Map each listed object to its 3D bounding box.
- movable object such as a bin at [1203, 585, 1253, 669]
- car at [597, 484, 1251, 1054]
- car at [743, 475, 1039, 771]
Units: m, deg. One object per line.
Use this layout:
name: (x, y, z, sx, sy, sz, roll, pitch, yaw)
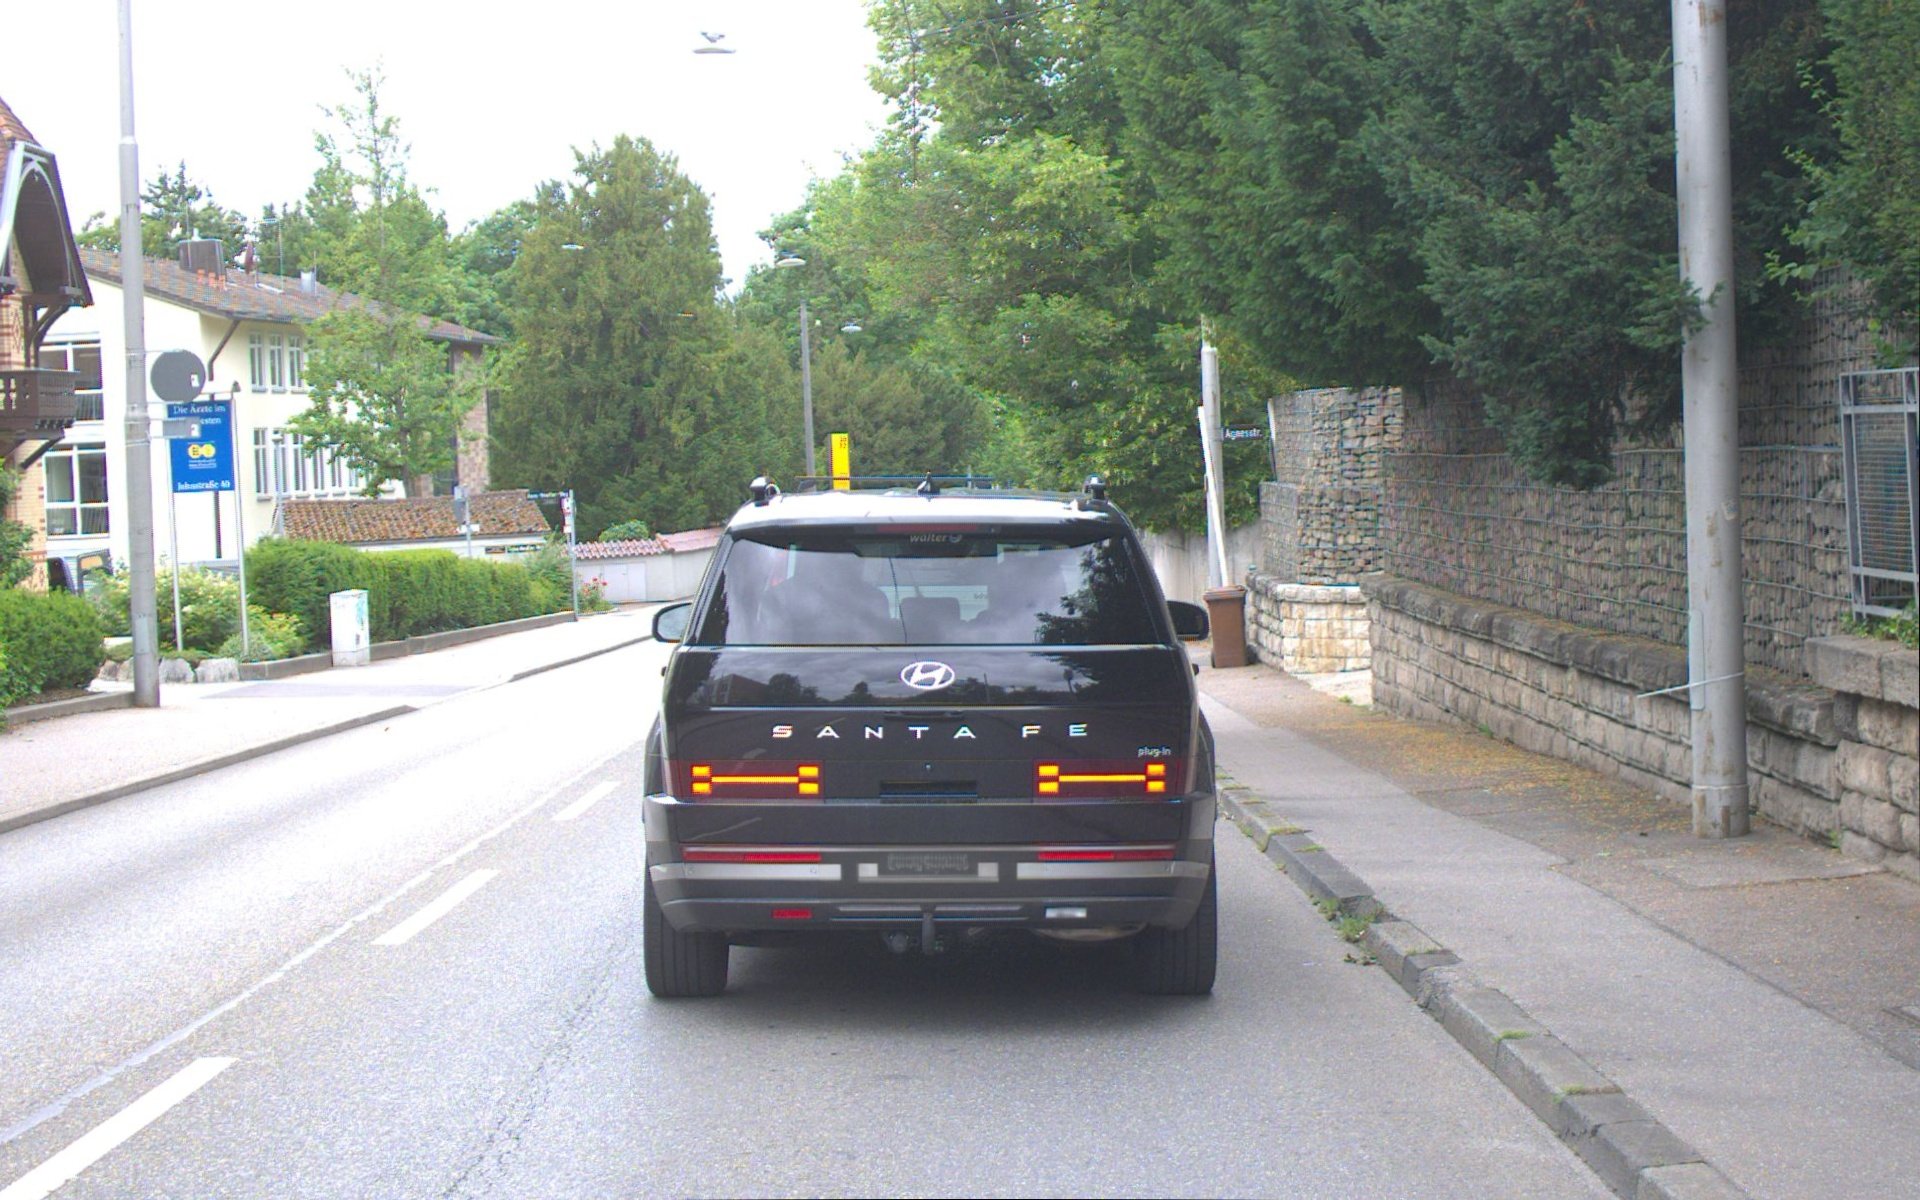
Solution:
movable object such as a bin: (3.035, 0.301, 38.919, 0.445, 0.906, 0.394, -5, 0, 9)
car: (-0.104, 0.461, 12.461, 1.957, 1.707, 4.223, 0, 1, 0)
car: (-0.575, 0.081, 25.080, 1.957, 1.949, 4.224, 0, 2, -3)
